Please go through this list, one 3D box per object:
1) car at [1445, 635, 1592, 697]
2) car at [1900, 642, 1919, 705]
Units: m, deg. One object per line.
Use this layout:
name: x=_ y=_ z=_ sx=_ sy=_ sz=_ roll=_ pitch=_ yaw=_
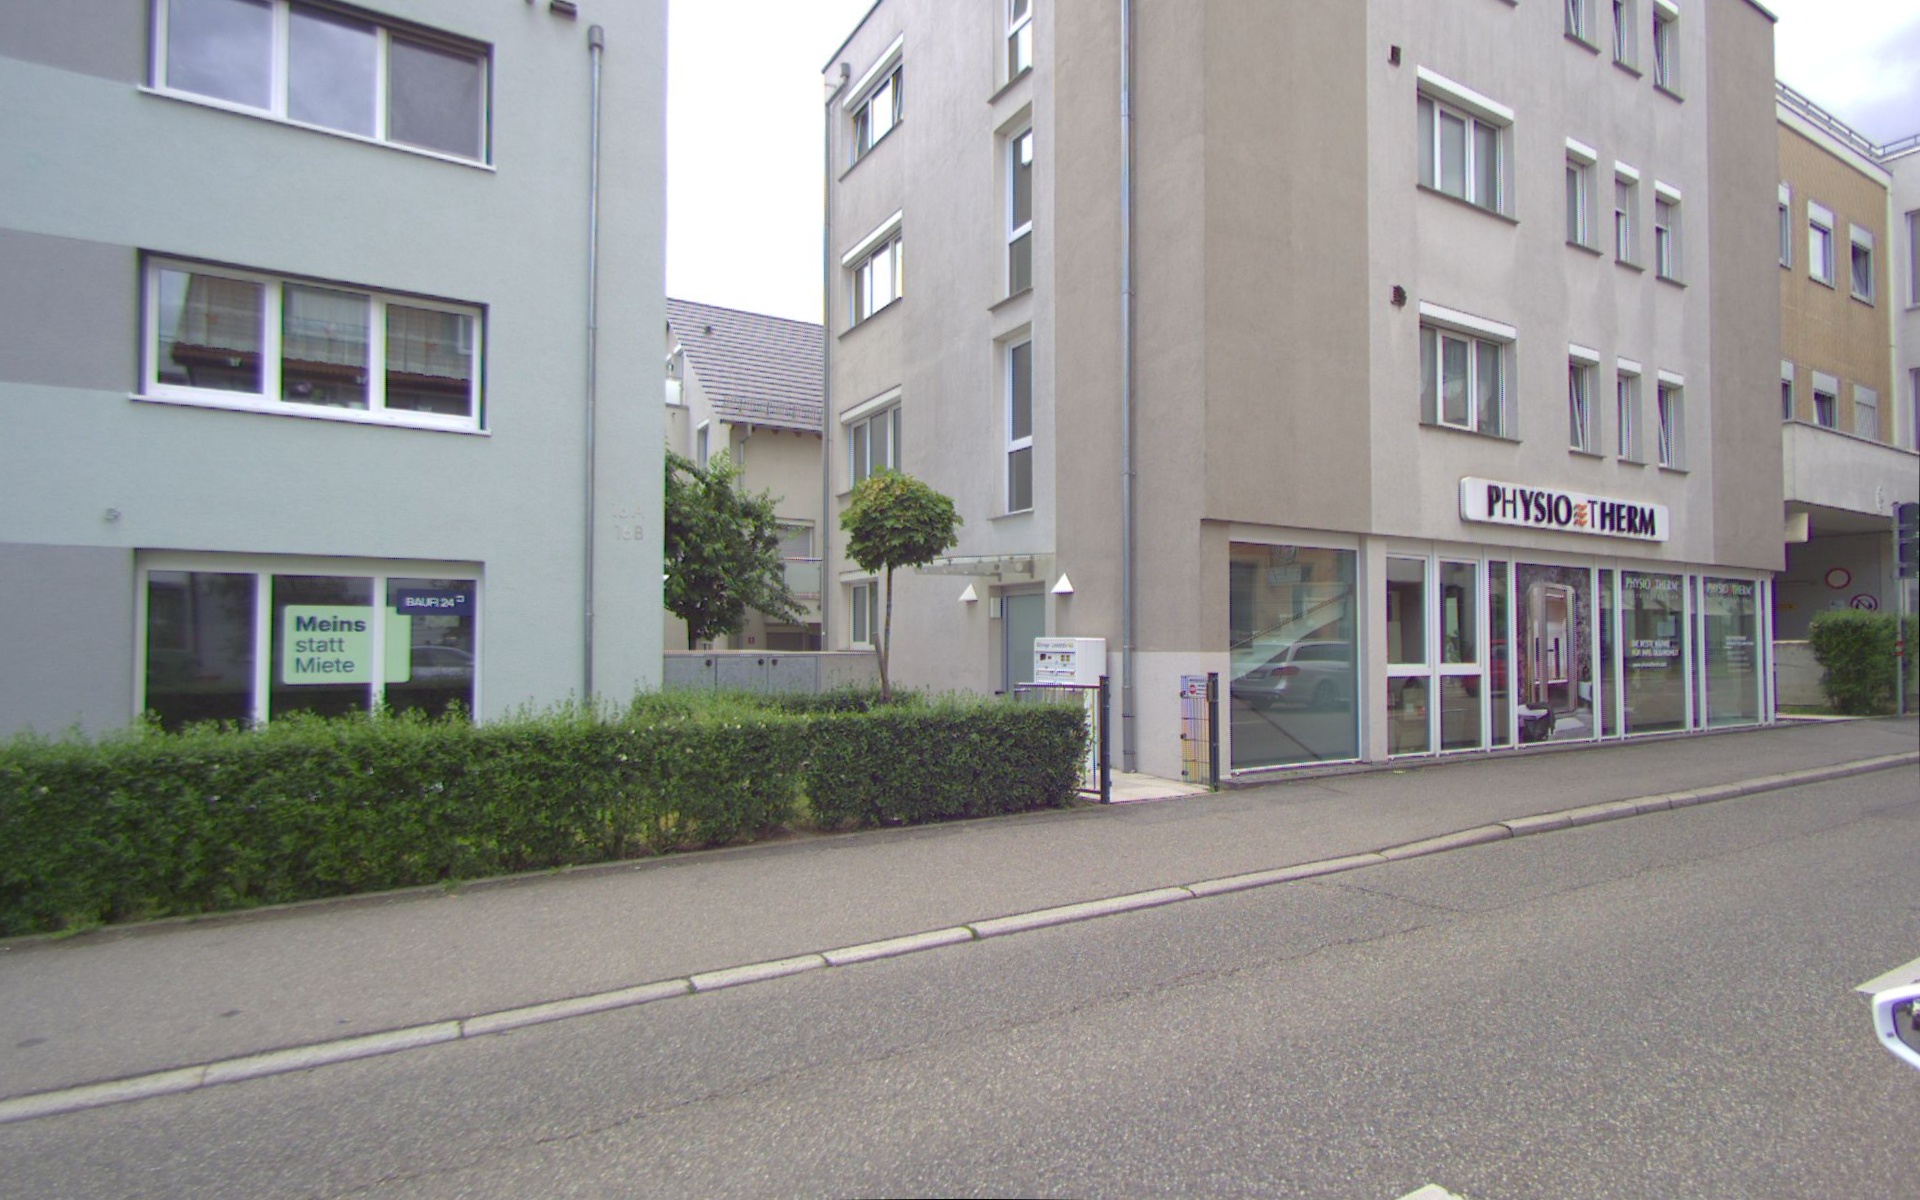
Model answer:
car: x=14.631 y=1.690 z=26.292 sx=3.647 sy=1.476 sz=1.745 roll=1 pitch=-1 yaw=-30
car: x=23.240 y=1.606 z=21.478 sx=1.770 sy=1.383 sz=4.365 roll=1 pitch=-2 yaw=-38
